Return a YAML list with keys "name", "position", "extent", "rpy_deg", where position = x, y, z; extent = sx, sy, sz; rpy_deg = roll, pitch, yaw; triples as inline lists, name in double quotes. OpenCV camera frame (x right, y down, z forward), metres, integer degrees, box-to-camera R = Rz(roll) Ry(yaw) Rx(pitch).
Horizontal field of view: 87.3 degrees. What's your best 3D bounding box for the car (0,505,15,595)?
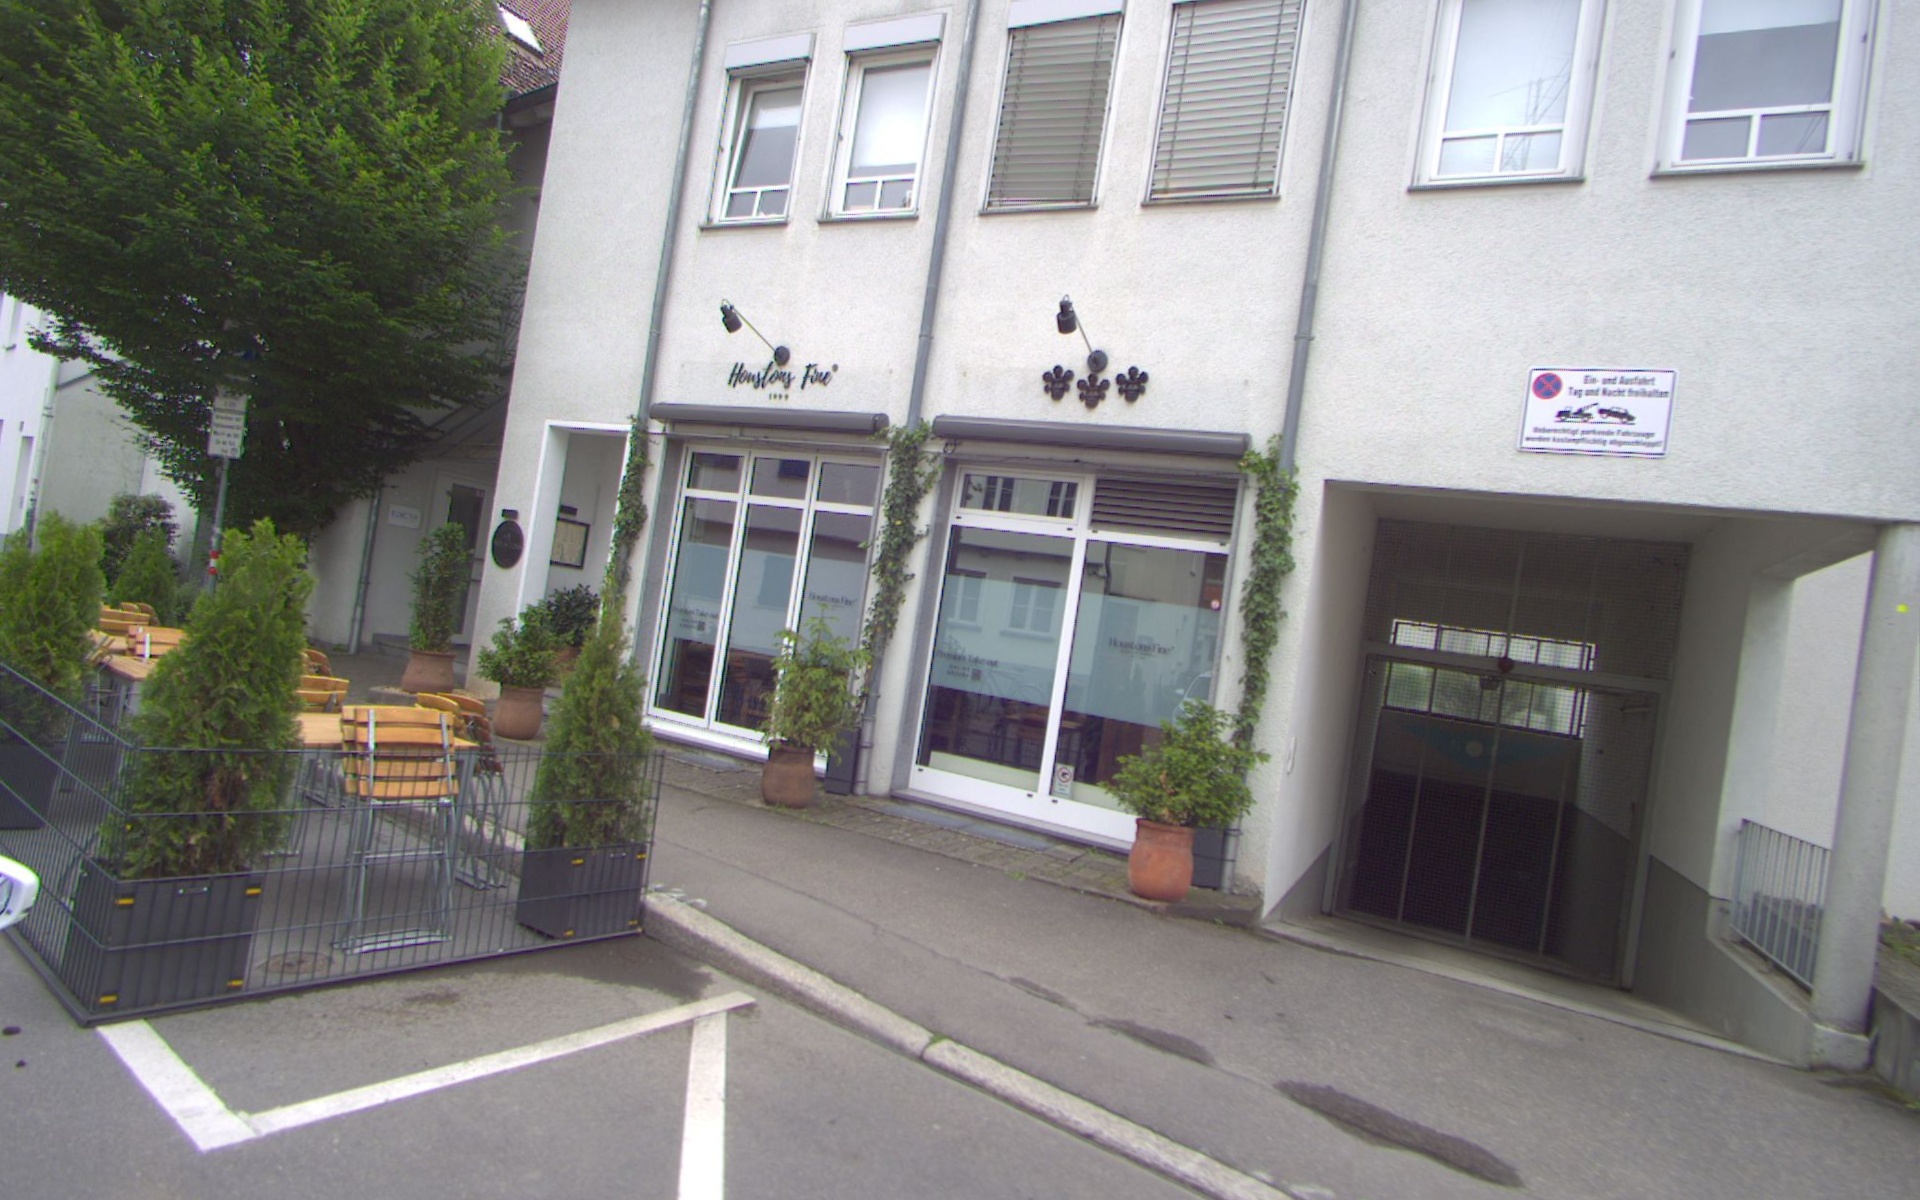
- name: "car"
  position: [-13.960, -0.708, 12.777]
  extent: [4.747, 1.524, 1.950]
  rpy_deg: [6, -3, 37]
